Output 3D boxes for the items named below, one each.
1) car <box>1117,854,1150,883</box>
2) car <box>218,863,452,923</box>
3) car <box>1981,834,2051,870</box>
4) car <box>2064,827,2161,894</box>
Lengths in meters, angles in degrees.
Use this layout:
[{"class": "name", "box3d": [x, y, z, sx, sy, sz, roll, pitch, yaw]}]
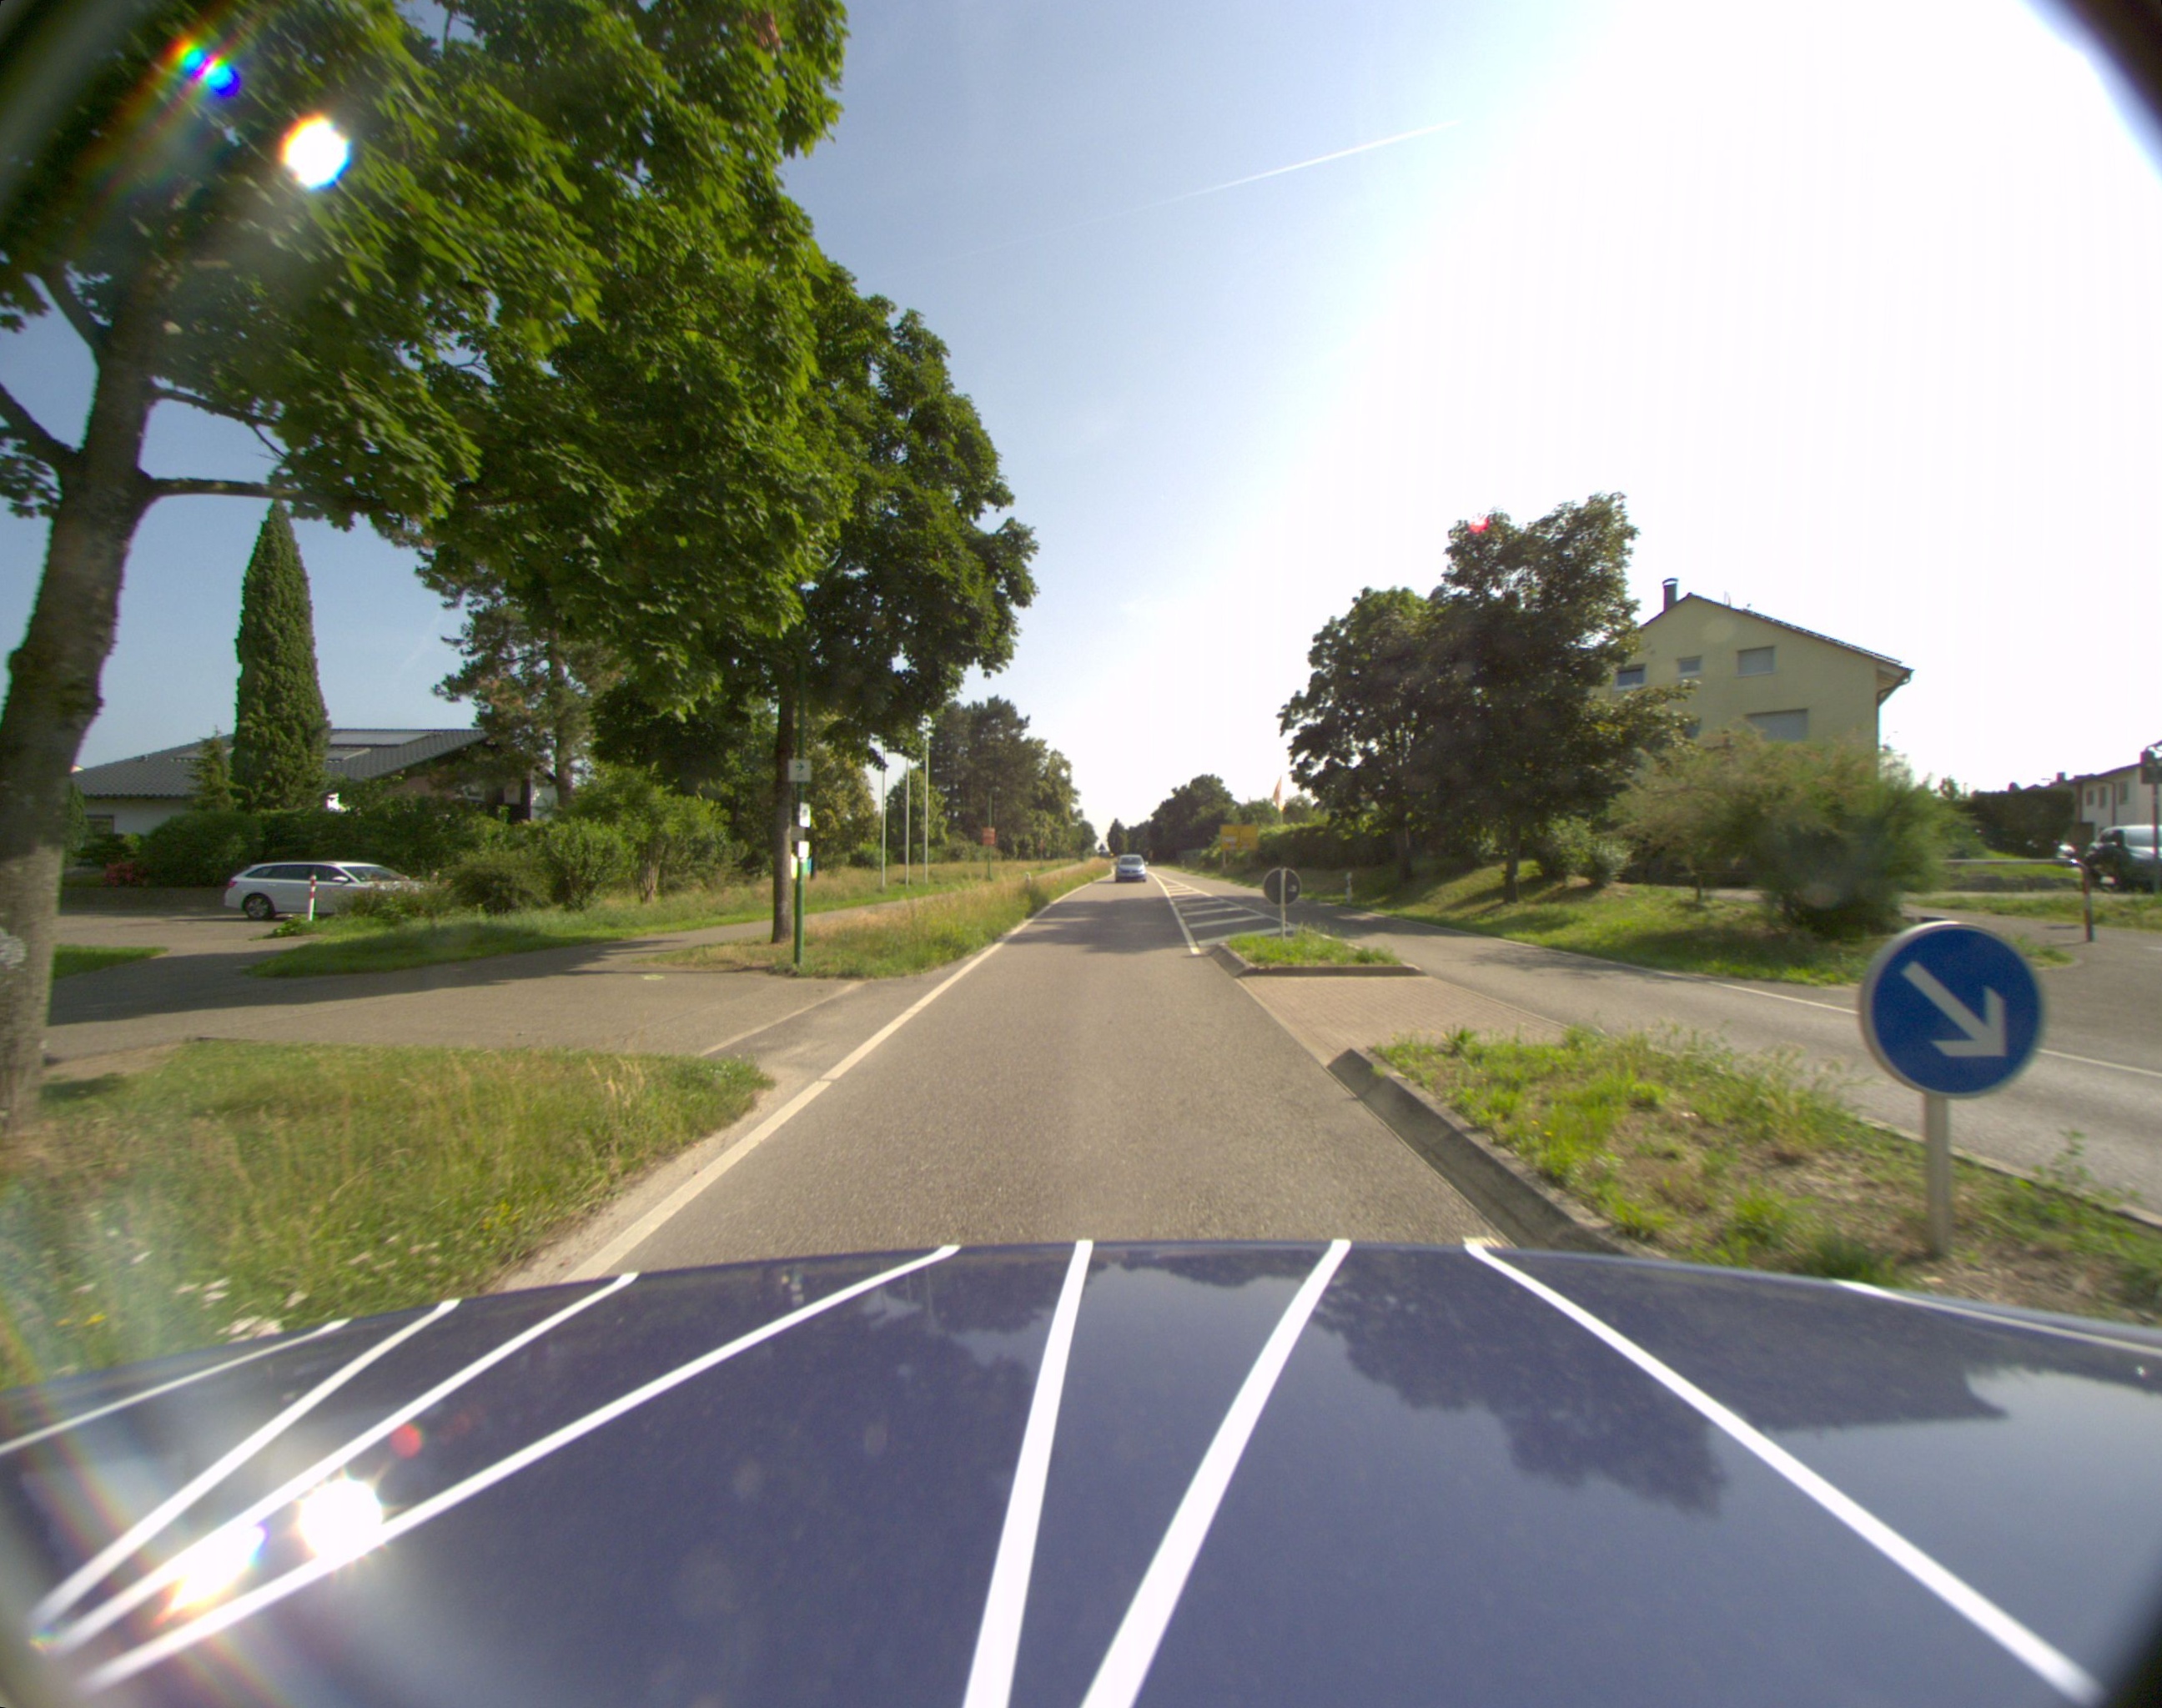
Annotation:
[{"class": "car", "box3d": [3.048, 0.819, 44.767, 1.808, 1.592, 4.270, 0, 0, 2]}, {"class": "car", "box3d": [-18.703, 0.953, 19.221, 3.998, 1.426, 1.814, 0, 1, -3]}, {"class": "car", "box3d": [39.976, -0.079, 32.568, 4.008, 1.454, 1.633, -1, 0, -43]}, {"class": "car", "box3d": [25.220, 0.124, 17.856, 1.863, 1.454, 4.243, 0, 0, 42]}]
